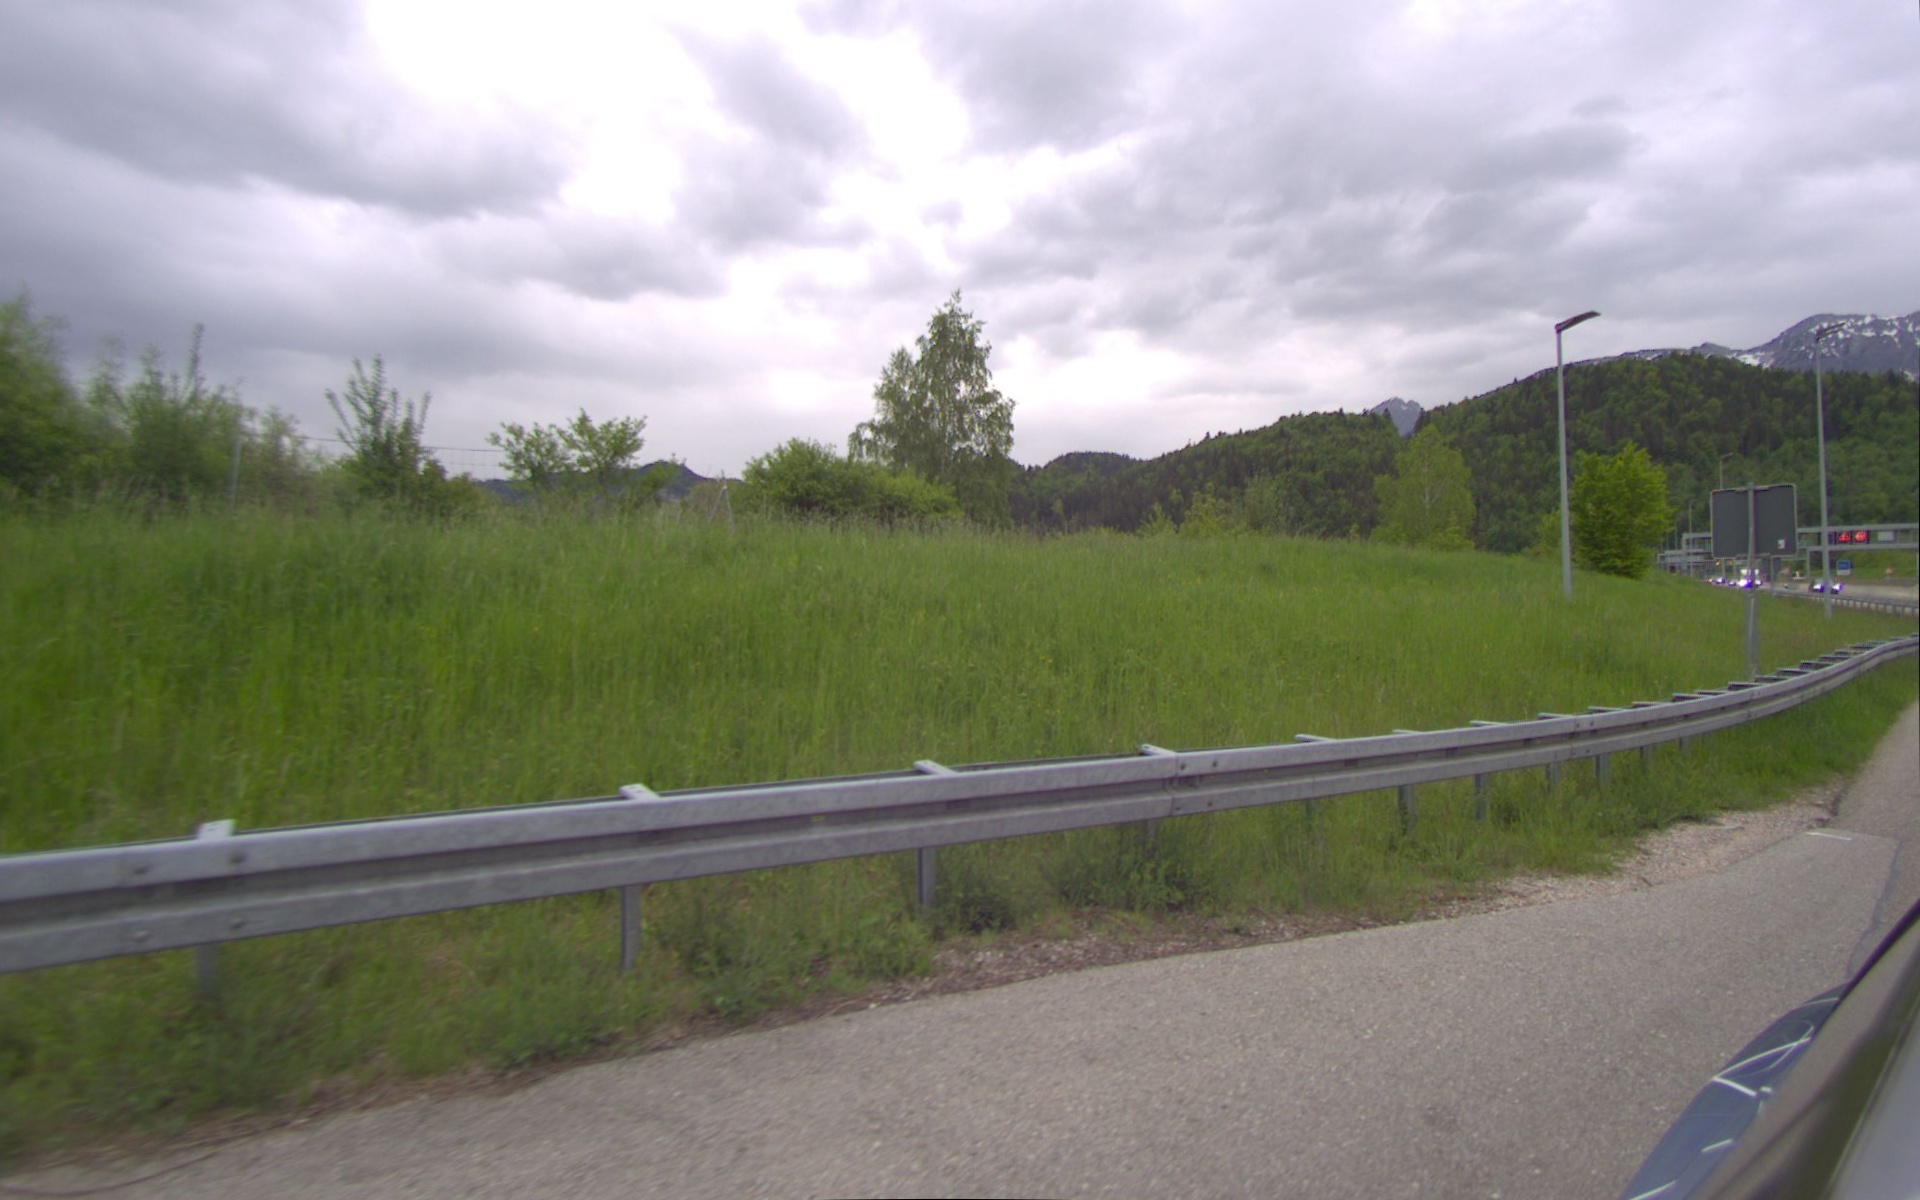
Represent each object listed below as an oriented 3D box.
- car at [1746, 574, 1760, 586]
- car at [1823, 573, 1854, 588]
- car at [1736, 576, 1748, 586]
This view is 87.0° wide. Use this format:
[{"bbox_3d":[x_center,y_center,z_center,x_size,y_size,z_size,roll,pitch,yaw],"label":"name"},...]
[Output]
[{"bbox_3d":[122.347,-3.071,156.096,1.623,1.719,3.448,1,1,38],"label":"car"},{"bbox_3d":[80.985,-1.791,93.337,1.654,1.353,3.746,1,2,34],"label":"car"},{"bbox_3d":[137.660,-3.390,178.061,1.623,1.719,3.448,1,1,38],"label":"car"}]
